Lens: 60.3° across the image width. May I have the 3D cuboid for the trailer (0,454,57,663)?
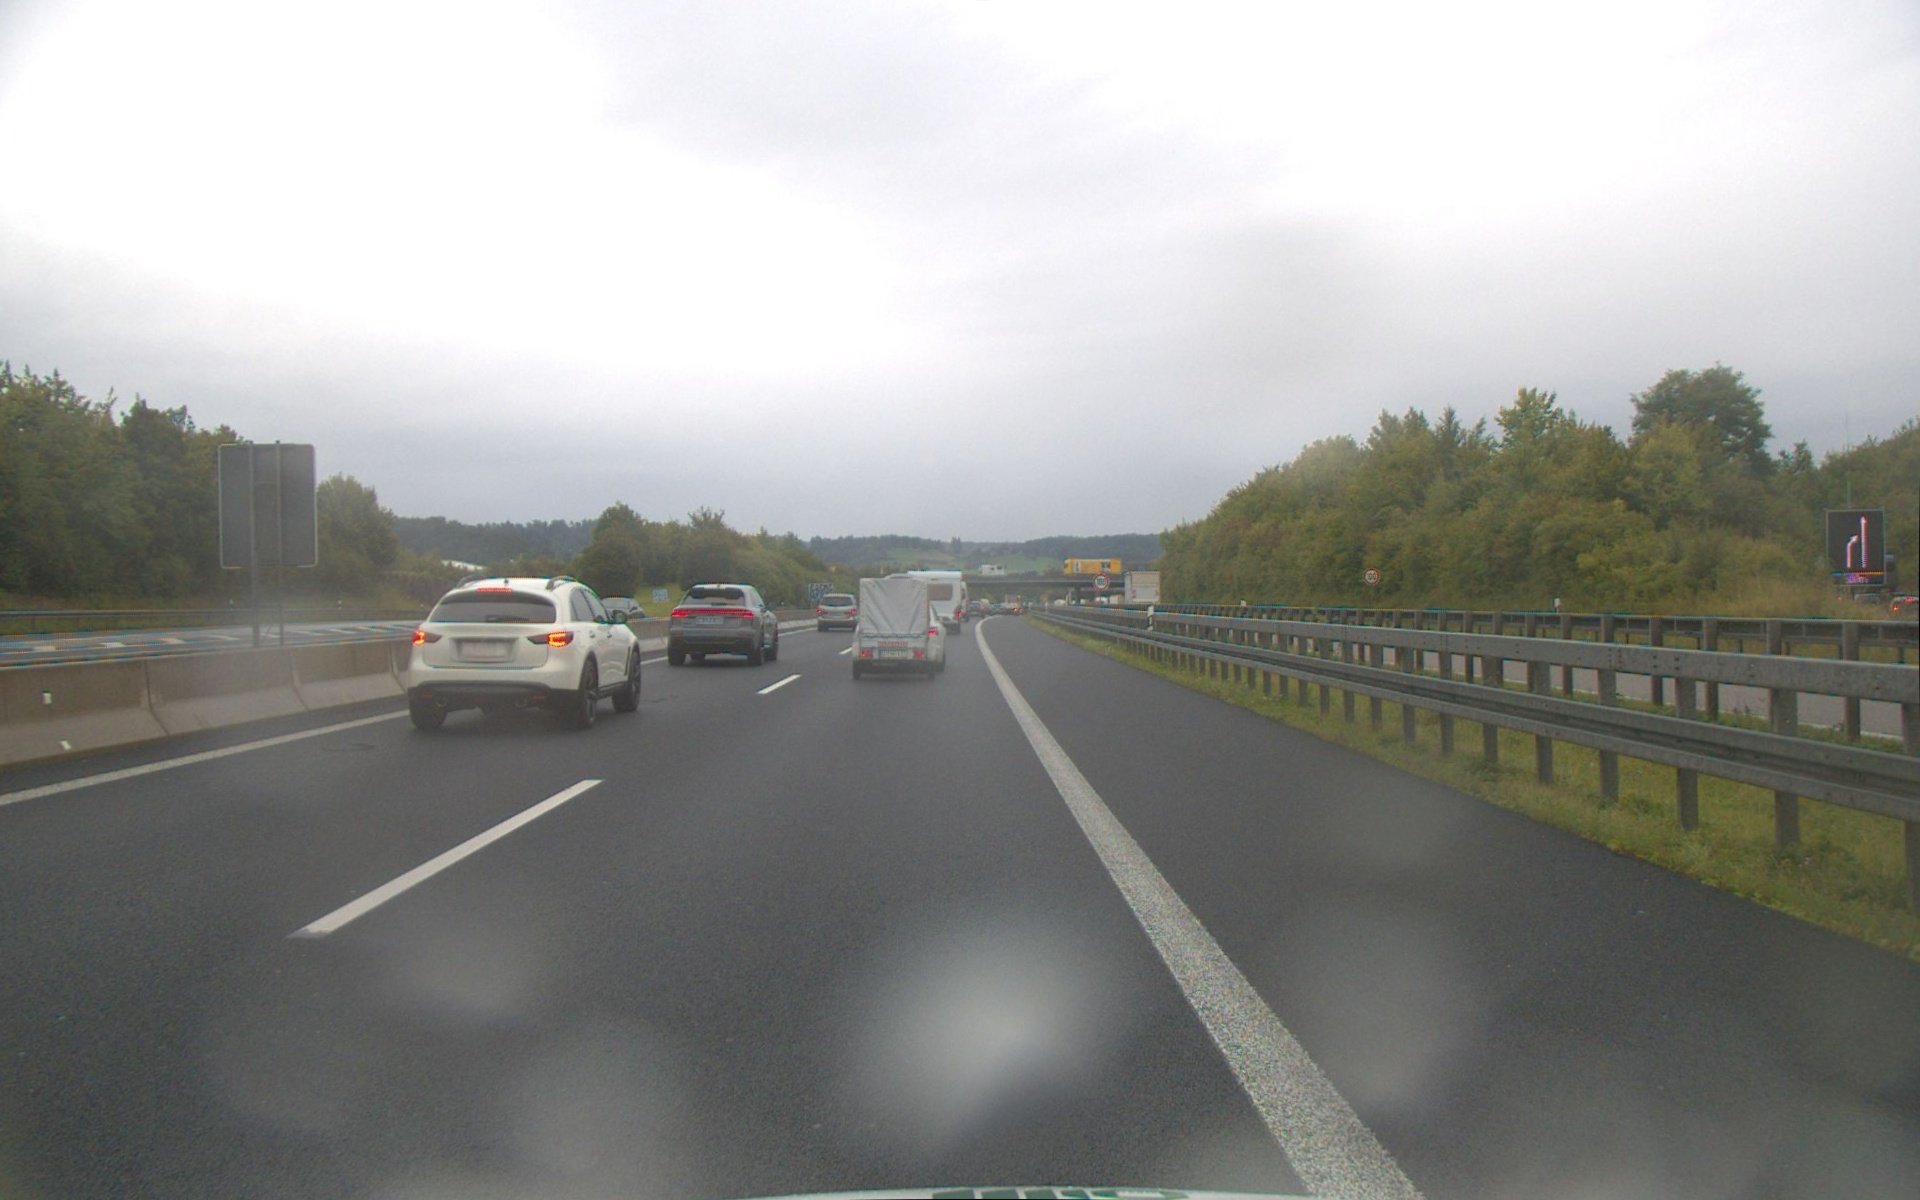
[{"bbox_3d":[-20.687,-0.798,27.899,3.193,4.155,13.846,0,0,1],"label":"trailer"}]

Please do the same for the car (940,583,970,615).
[{"bbox_3d":[-0.370,-0.072,112.290,1.953,2.071,4.150,1,0,-2],"label":"car"}]

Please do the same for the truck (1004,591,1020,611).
[{"bbox_3d":[8.200,0.191,261.436,2.230,3.136,7.249,1,0,3],"label":"truck"}]

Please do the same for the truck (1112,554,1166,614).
[{"bbox_3d":[15.777,-1.389,146.524,4.008,5.193,10.466,0,0,2],"label":"truck"}]

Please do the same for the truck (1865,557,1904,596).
[{"bbox_3d":[67.414,-1.711,120.704,2.393,2.752,5.559,0,0,29],"label":"truck"}]

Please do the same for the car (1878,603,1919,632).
[{"bbox_3d":[50.134,0.902,87.600,1.820,1.473,4.160,0,0,17],"label":"car"}]

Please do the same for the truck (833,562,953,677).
[{"bbox_3d":[-1.198,0.335,32.739,1.977,2.020,7.213,0,0,1],"label":"truck"}]

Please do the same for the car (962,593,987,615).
[{"bbox_3d":[1.192,0.333,138.297,1.952,1.780,4.001,1,0,2],"label":"car"}]

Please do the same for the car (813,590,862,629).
[{"bbox_3d":[-5.345,0.397,72.466,1.861,1.641,4.017,0,0,0],"label":"car"}]

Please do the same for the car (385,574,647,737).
[{"bbox_3d":[-4.978,0.566,19.228,1.936,1.668,4.499,0,0,-2],"label":"car"}]

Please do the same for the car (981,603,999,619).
[{"bbox_3d":[3.544,1.313,193.781,1.952,1.780,4.001,1,0,2],"label":"car"}]

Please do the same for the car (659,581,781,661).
[{"bbox_3d":[-5.208,0.437,36.450,2.130,1.660,4.499,0,0,-2],"label":"car"}]

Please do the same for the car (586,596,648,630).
[{"bbox_3d":[-15.228,0.558,73.702,1.861,1.430,4.379,0,0,0],"label":"car"}]

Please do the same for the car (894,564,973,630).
[{"bbox_3d":[-1.058,-0.150,70.191,2.953,2.662,6.077,0,0,3],"label":"car"}]

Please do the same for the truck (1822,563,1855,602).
[{"bbox_3d":[68.906,-1.336,129.843,2.201,2.929,8.162,0,0,28],"label":"truck"}]

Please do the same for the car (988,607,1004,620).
[{"bbox_3d":[5.027,1.913,231.009,1.952,1.780,4.002,1,0,3],"label":"car"}]
